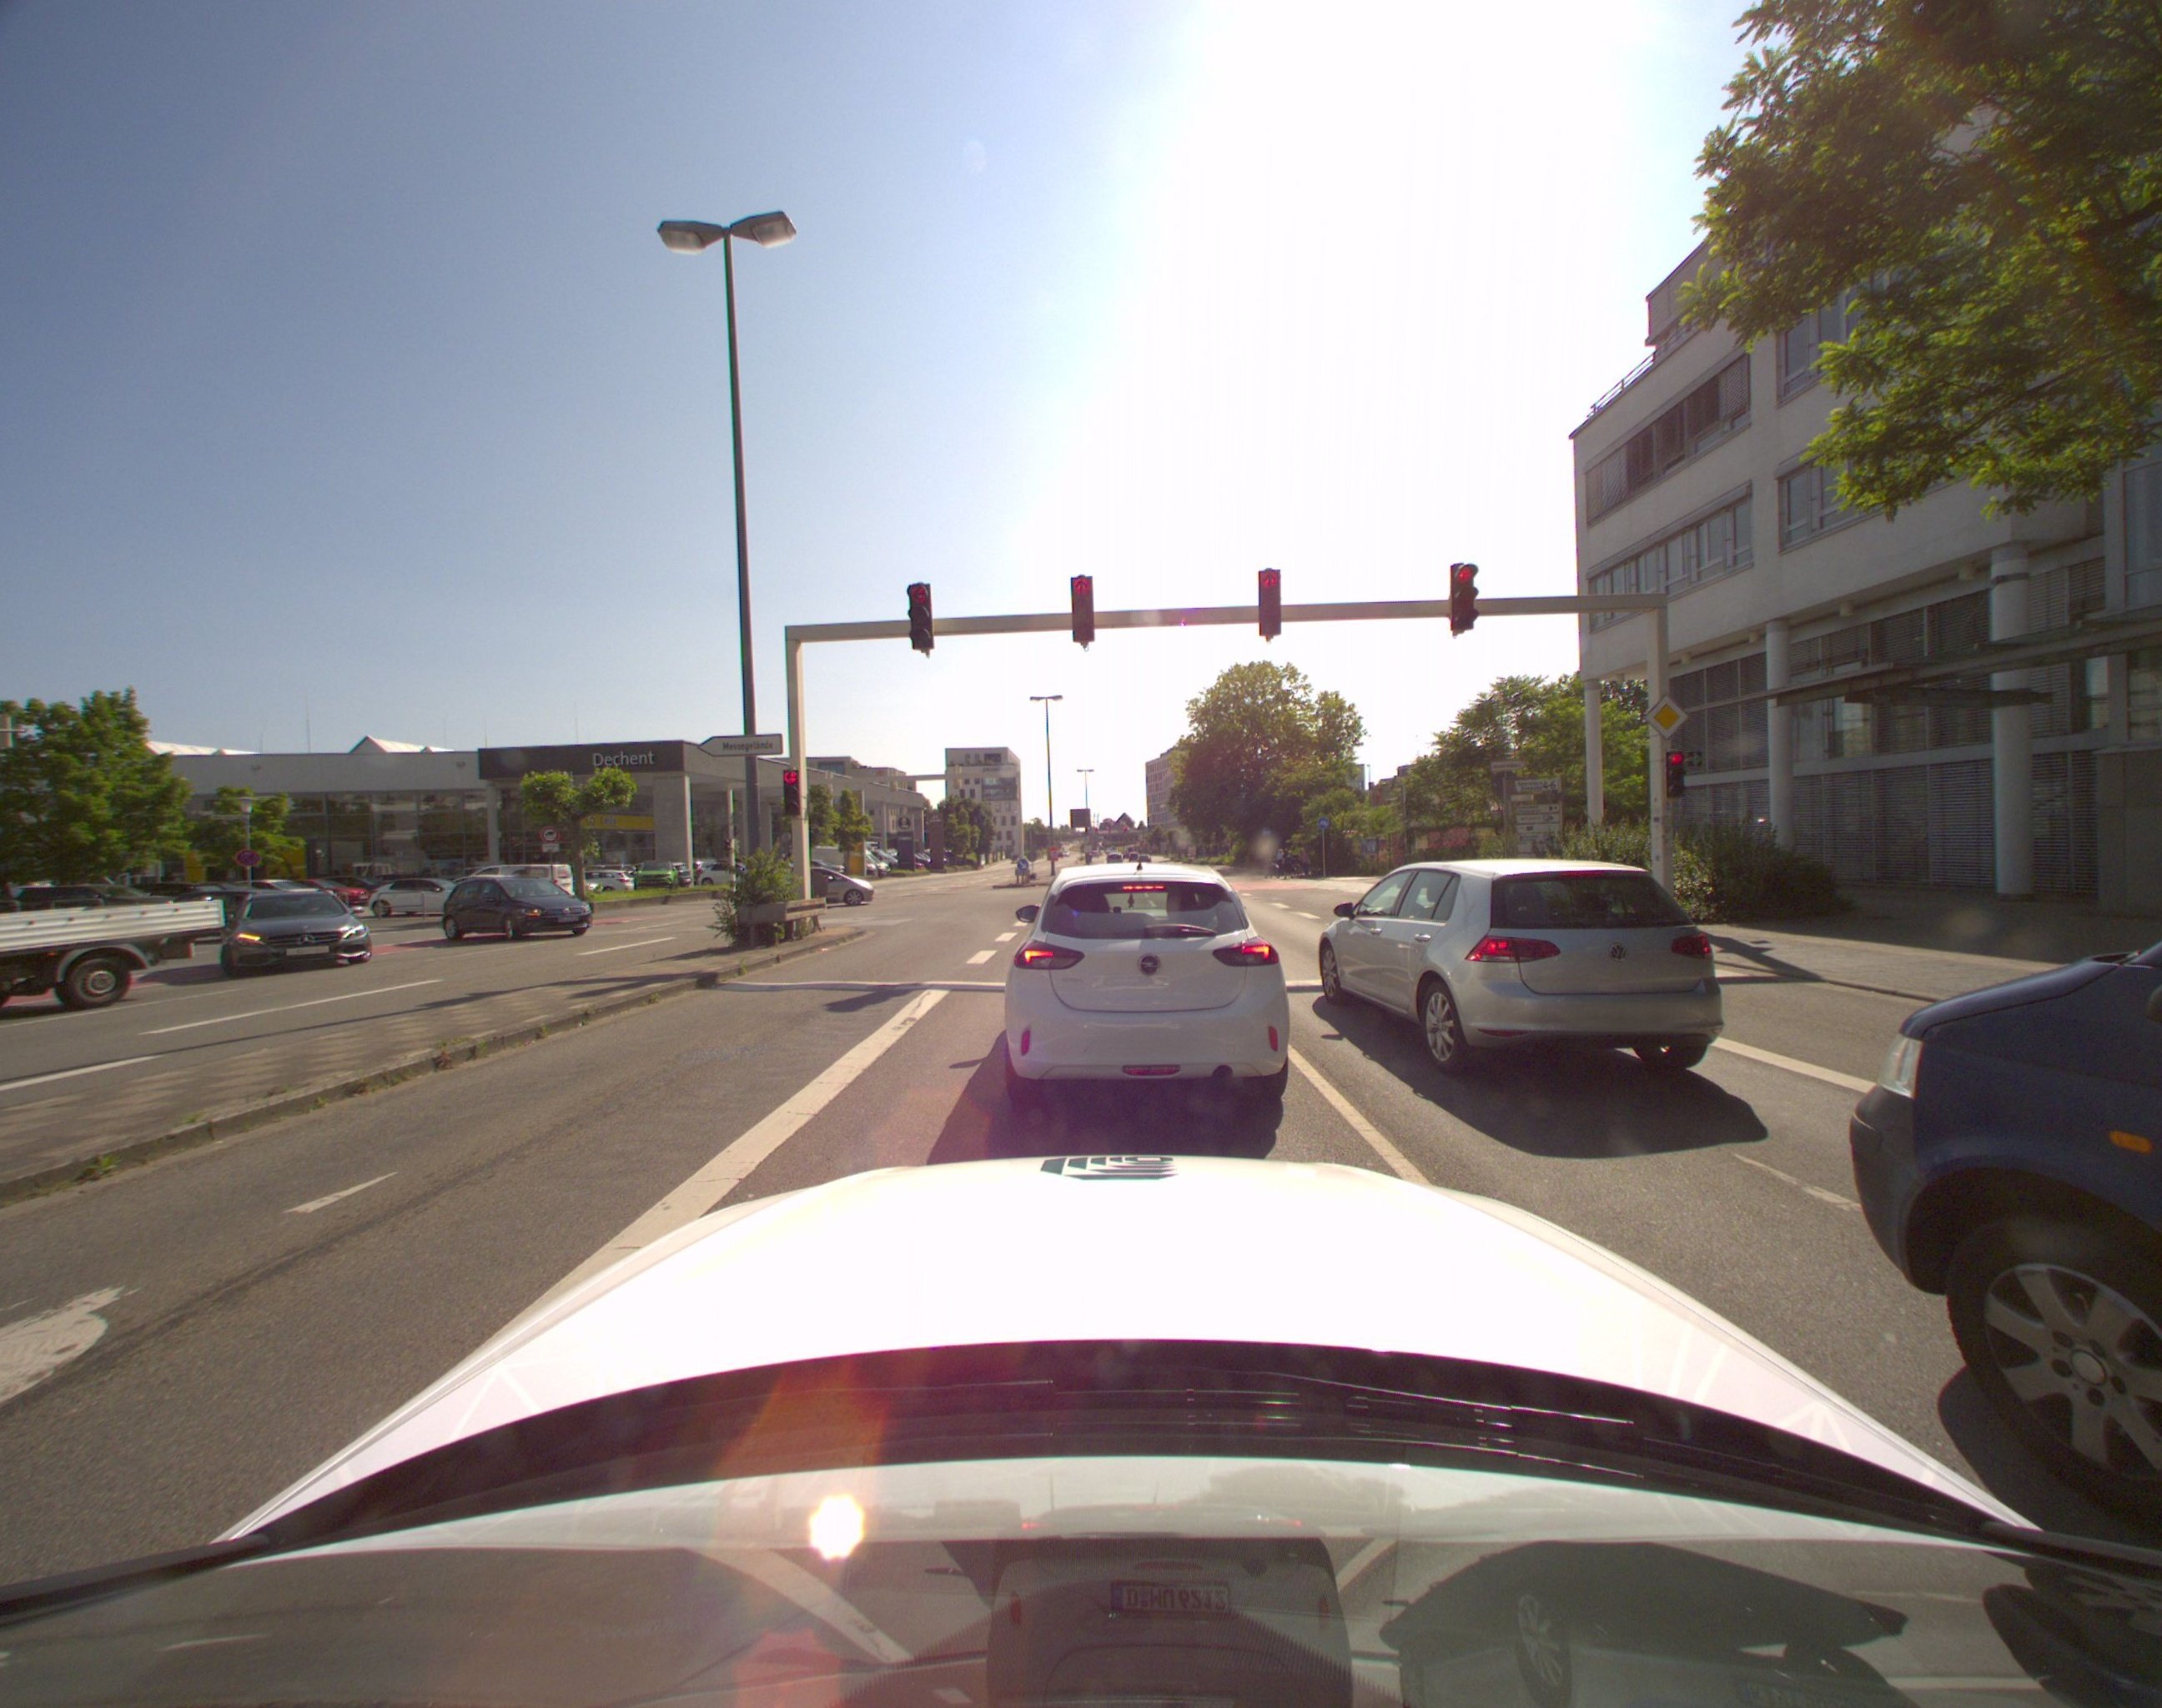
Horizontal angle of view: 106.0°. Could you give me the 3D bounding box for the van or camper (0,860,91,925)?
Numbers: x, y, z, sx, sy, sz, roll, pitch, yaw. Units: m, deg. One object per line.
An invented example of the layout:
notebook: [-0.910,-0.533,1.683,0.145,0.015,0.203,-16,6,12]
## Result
van or camper: [-41.950,1.527,31.334,4.711,2.400,1.995,-2,0,-8]

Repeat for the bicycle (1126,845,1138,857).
bicycle: [9.712,-0.570,155.358,1.986,2.157,4.001,-2,0,1]

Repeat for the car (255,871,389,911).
car: [-36.621,1.760,39.408,4.352,1.696,1.995,-2,0,-7]

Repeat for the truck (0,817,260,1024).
truck: [-14.483,0.857,9.777,2.346,2.545,6.445,-2,0,4]

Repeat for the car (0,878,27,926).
car: [-40.605,1.791,28.326,4.371,1.696,1.987,-2,0,-20]

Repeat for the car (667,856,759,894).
car: [-19.260,1.084,42.771,3.859,1.837,1.999,-2,0,-1]

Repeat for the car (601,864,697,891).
car: [-24.704,1.363,46.672,4.352,1.268,1.995,-3,-2,-7]

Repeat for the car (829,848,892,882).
car: [-18.471,0.932,68.346,4.469,2.684,2.134,-2,0,10]

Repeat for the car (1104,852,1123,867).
car: [3.347,0.582,84.601,1.800,1.386,3.998,0,-2,0]

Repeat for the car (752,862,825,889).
car: [-20.412,1.473,56.941,4.344,1.696,1.999,-2,0,-1]

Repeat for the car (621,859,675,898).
car: [-21.254,1.208,39.949,1.915,1.733,3.258,-2,-1,-35]

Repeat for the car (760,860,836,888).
car: [-18.983,1.345,54.701,4.343,1.696,1.999,-2,0,-1]

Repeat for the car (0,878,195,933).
car: [-35.429,1.811,29.446,4.348,1.696,1.997,-2,0,-4]

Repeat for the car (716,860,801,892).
car: [-19.590,1.316,49.575,4.284,1.765,1.999,-2,0,-1]

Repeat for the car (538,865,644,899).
car: [-26.159,1.484,43.578,4.352,1.591,1.996,-2,0,-7]

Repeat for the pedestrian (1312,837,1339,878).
pedestrian: [12.422,0.192,41.402,1.023,2.013,1.039,-2,0,1]

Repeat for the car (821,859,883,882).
car: [-18.505,1.331,65.894,4.334,1.696,2.004,-2,0,6]

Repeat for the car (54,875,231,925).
car: [-36.684,1.768,31.950,4.348,1.696,1.997,-2,0,-4]

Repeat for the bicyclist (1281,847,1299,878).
bicyclist: [11.418,0.452,44.516,0.687,1.643,0.775,-2,0,-7]

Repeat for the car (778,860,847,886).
car: [-19.786,1.405,60.146,4.344,1.696,1.999,-2,0,-1]

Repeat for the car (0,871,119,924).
car: [-43.164,1.803,33.692,3.984,2.013,1.995,-2,0,-8]

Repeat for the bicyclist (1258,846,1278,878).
bicyclist: [10.585,0.424,46.054,0.876,1.772,0.864,-2,0,1]

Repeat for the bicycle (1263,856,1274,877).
bicycle: [10.617,0.704,46.046,0.371,1.216,1.154,0,0,2]

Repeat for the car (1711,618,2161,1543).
car: [3.216,0.444,0.458,1.986,1.948,4.892,-2,-1,2]

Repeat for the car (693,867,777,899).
car: [-19.835,1.636,46.866,3.981,1.599,1.996,-2,0,-6]

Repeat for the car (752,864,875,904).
car: [-9.363,1.017,28.824,3.995,1.331,1.989,0,-1,-16]

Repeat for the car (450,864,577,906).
car: [-26.512,1.428,38.184,4.353,1.696,1.995,-2,0,-7]

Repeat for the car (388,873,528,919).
car: [-26.796,1.784,35.152,4.348,1.696,1.997,-2,0,-4]

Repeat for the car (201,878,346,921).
car: [-36.586,2.041,37.013,4.348,1.696,1.997,-2,0,-4]

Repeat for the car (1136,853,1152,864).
car: [7.799,0.595,100.702,1.799,1.386,4.001,0,-1,2]

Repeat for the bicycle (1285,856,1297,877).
bicycle: [11.432,0.697,44.427,0.372,1.147,1.034,0,-1,0]

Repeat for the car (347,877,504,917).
car: [-25.541,1.645,31.853,4.348,1.300,1.997,-2,0,-4]

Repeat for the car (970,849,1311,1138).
car: [0.374,0.748,6.359,1.773,1.494,4.001,-2,0,2]

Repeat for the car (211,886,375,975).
car: [-15.229,1.356,15.682,3.949,1.360,1.917,0,-1,41]

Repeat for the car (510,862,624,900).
car: [-25.887,1.341,41.132,4.353,1.696,1.995,-2,0,-7]

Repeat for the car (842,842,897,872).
car: [-19.095,0.263,73.680,4.334,2.601,2.004,-2,0,6]

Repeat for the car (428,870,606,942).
car: [-14.365,1.289,20.739,4.083,1.617,1.903,-2,0,25]

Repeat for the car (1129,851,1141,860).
car: [8.968,0.293,135.298,1.799,1.386,4.001,0,-1,2]

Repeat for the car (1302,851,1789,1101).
car: [3.313,0.742,6.860,1.801,1.429,3.999,-2,-1,0]

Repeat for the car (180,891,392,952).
car: [-23.103,1.929,23.825,3.982,1.442,1.996,-2,0,-7]
